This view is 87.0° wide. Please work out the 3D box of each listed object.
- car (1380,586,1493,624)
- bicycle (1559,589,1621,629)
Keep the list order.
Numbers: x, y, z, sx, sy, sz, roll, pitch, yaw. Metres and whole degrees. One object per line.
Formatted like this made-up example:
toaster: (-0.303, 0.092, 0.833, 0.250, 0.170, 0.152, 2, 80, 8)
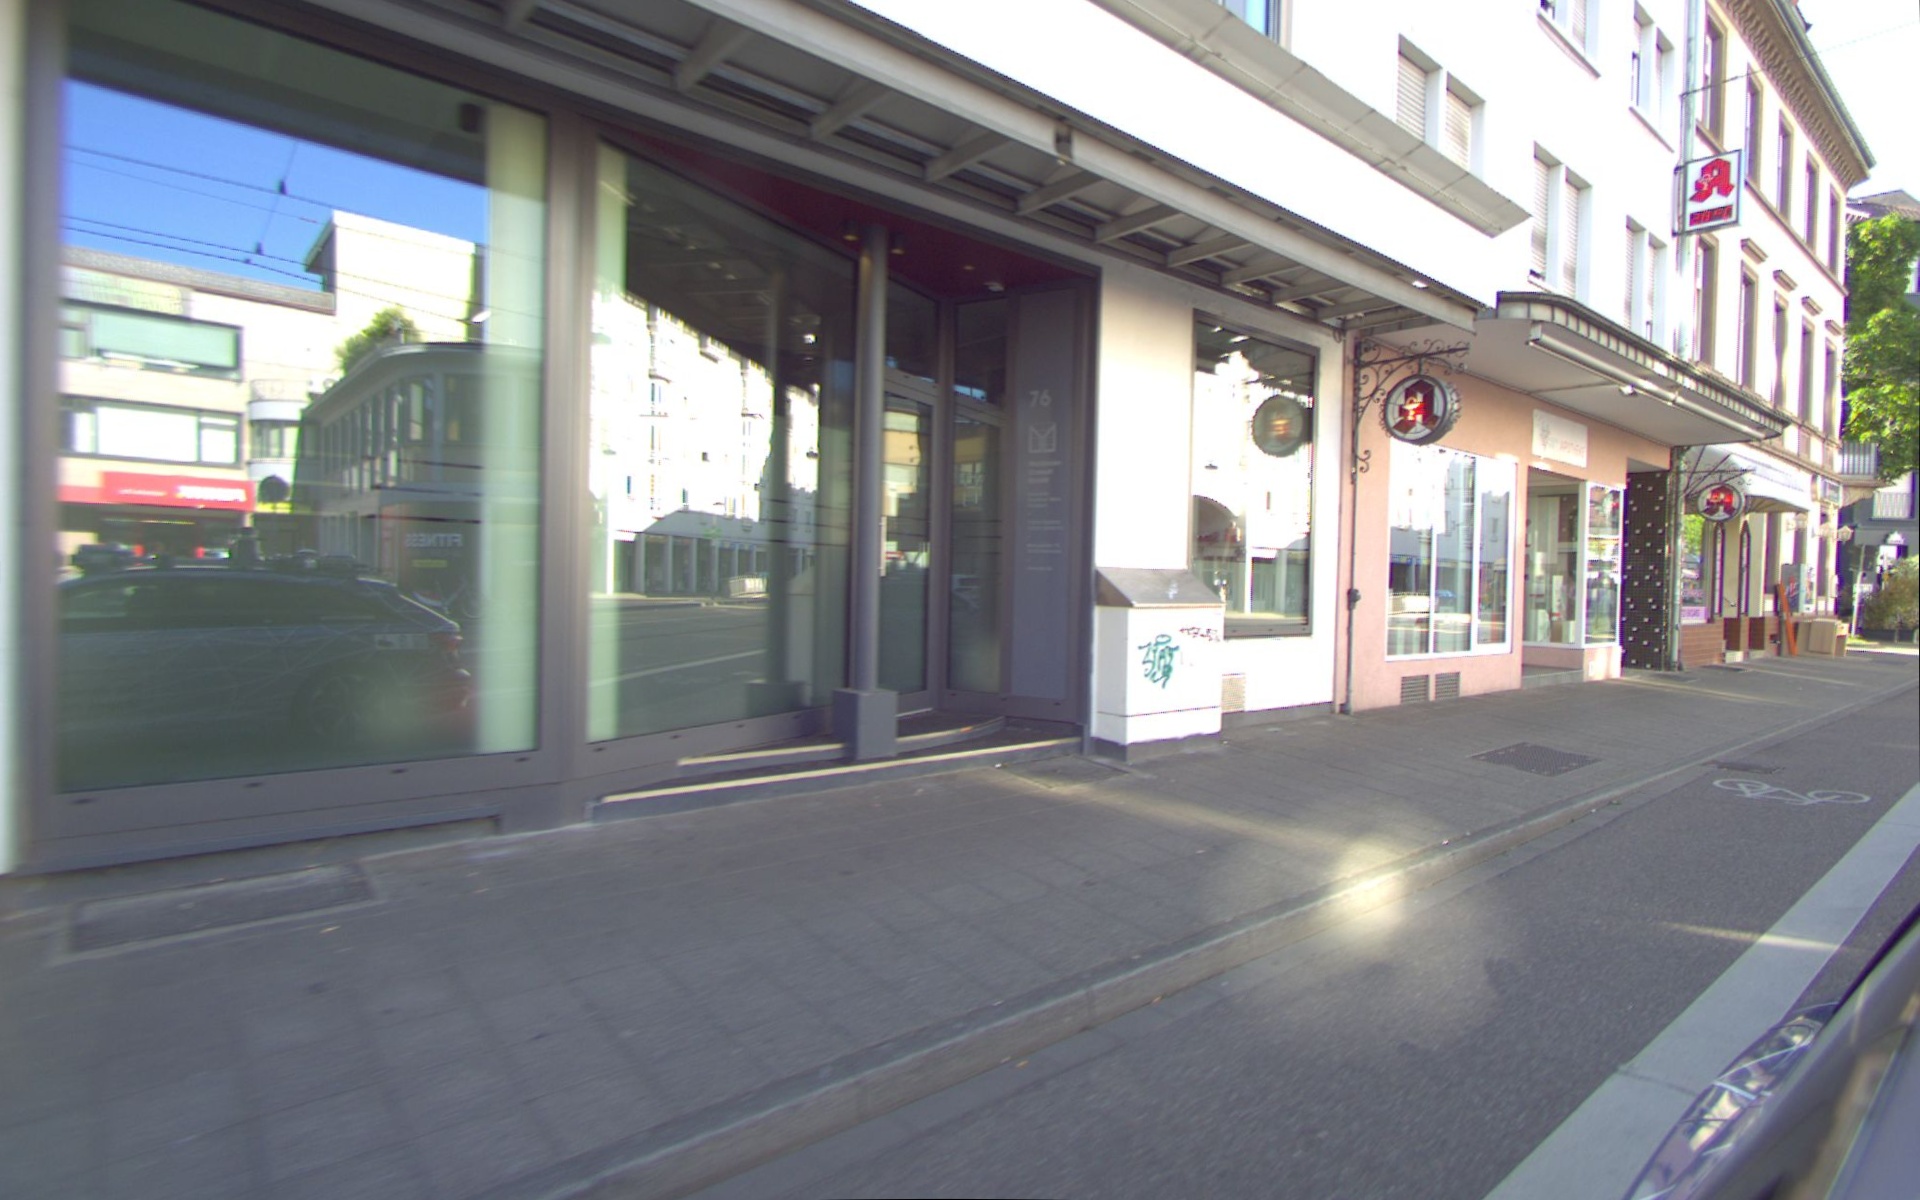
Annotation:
car: (17.863, 0.180, 37.962, 3.581, 1.378, 1.650, 0, 1, -14)
bicycle: (20.831, 0.281, 33.499, 0.568, 1.281, 2.062, 0, 1, -6)
